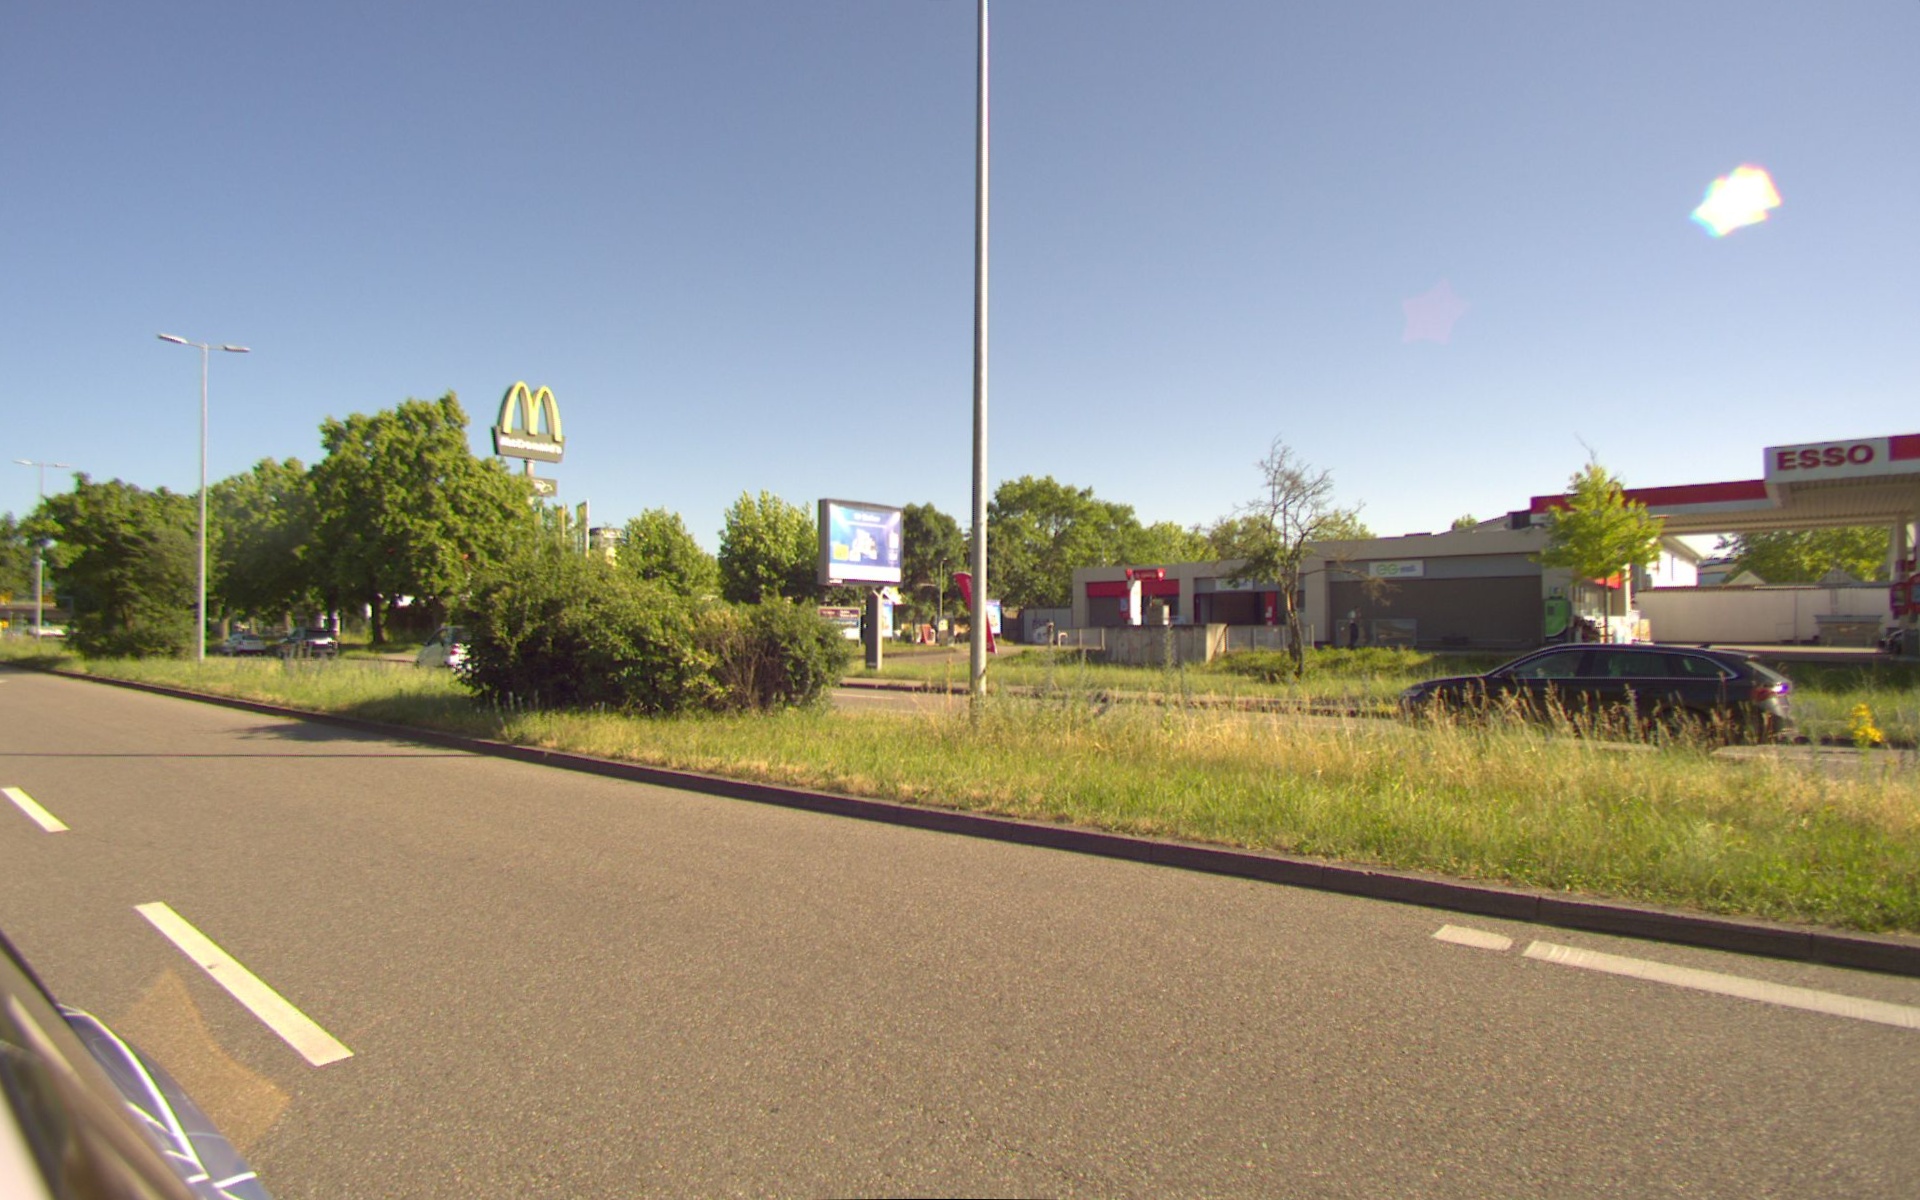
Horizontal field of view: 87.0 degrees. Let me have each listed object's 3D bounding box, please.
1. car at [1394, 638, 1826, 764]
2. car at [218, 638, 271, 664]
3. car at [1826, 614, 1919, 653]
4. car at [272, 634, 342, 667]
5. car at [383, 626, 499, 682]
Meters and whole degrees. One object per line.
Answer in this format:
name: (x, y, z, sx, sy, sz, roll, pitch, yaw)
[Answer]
car: (8.500, 1.247, 13.540, 4.679, 1.344, 1.628, -1, -4, 41)
car: (-47.597, 3.341, 67.331, 4.141, 1.562, 1.973, -1, 0, 41)
car: (37.509, 1.308, 40.342, 4.540, 1.477, 1.973, -1, 0, 41)
car: (-35.681, 2.721, 55.283, 4.769, 1.640, 1.973, -1, 0, 41)
car: (-14.162, 1.425, 27.559, 3.705, 1.364, 1.551, -1, 0, 41)
